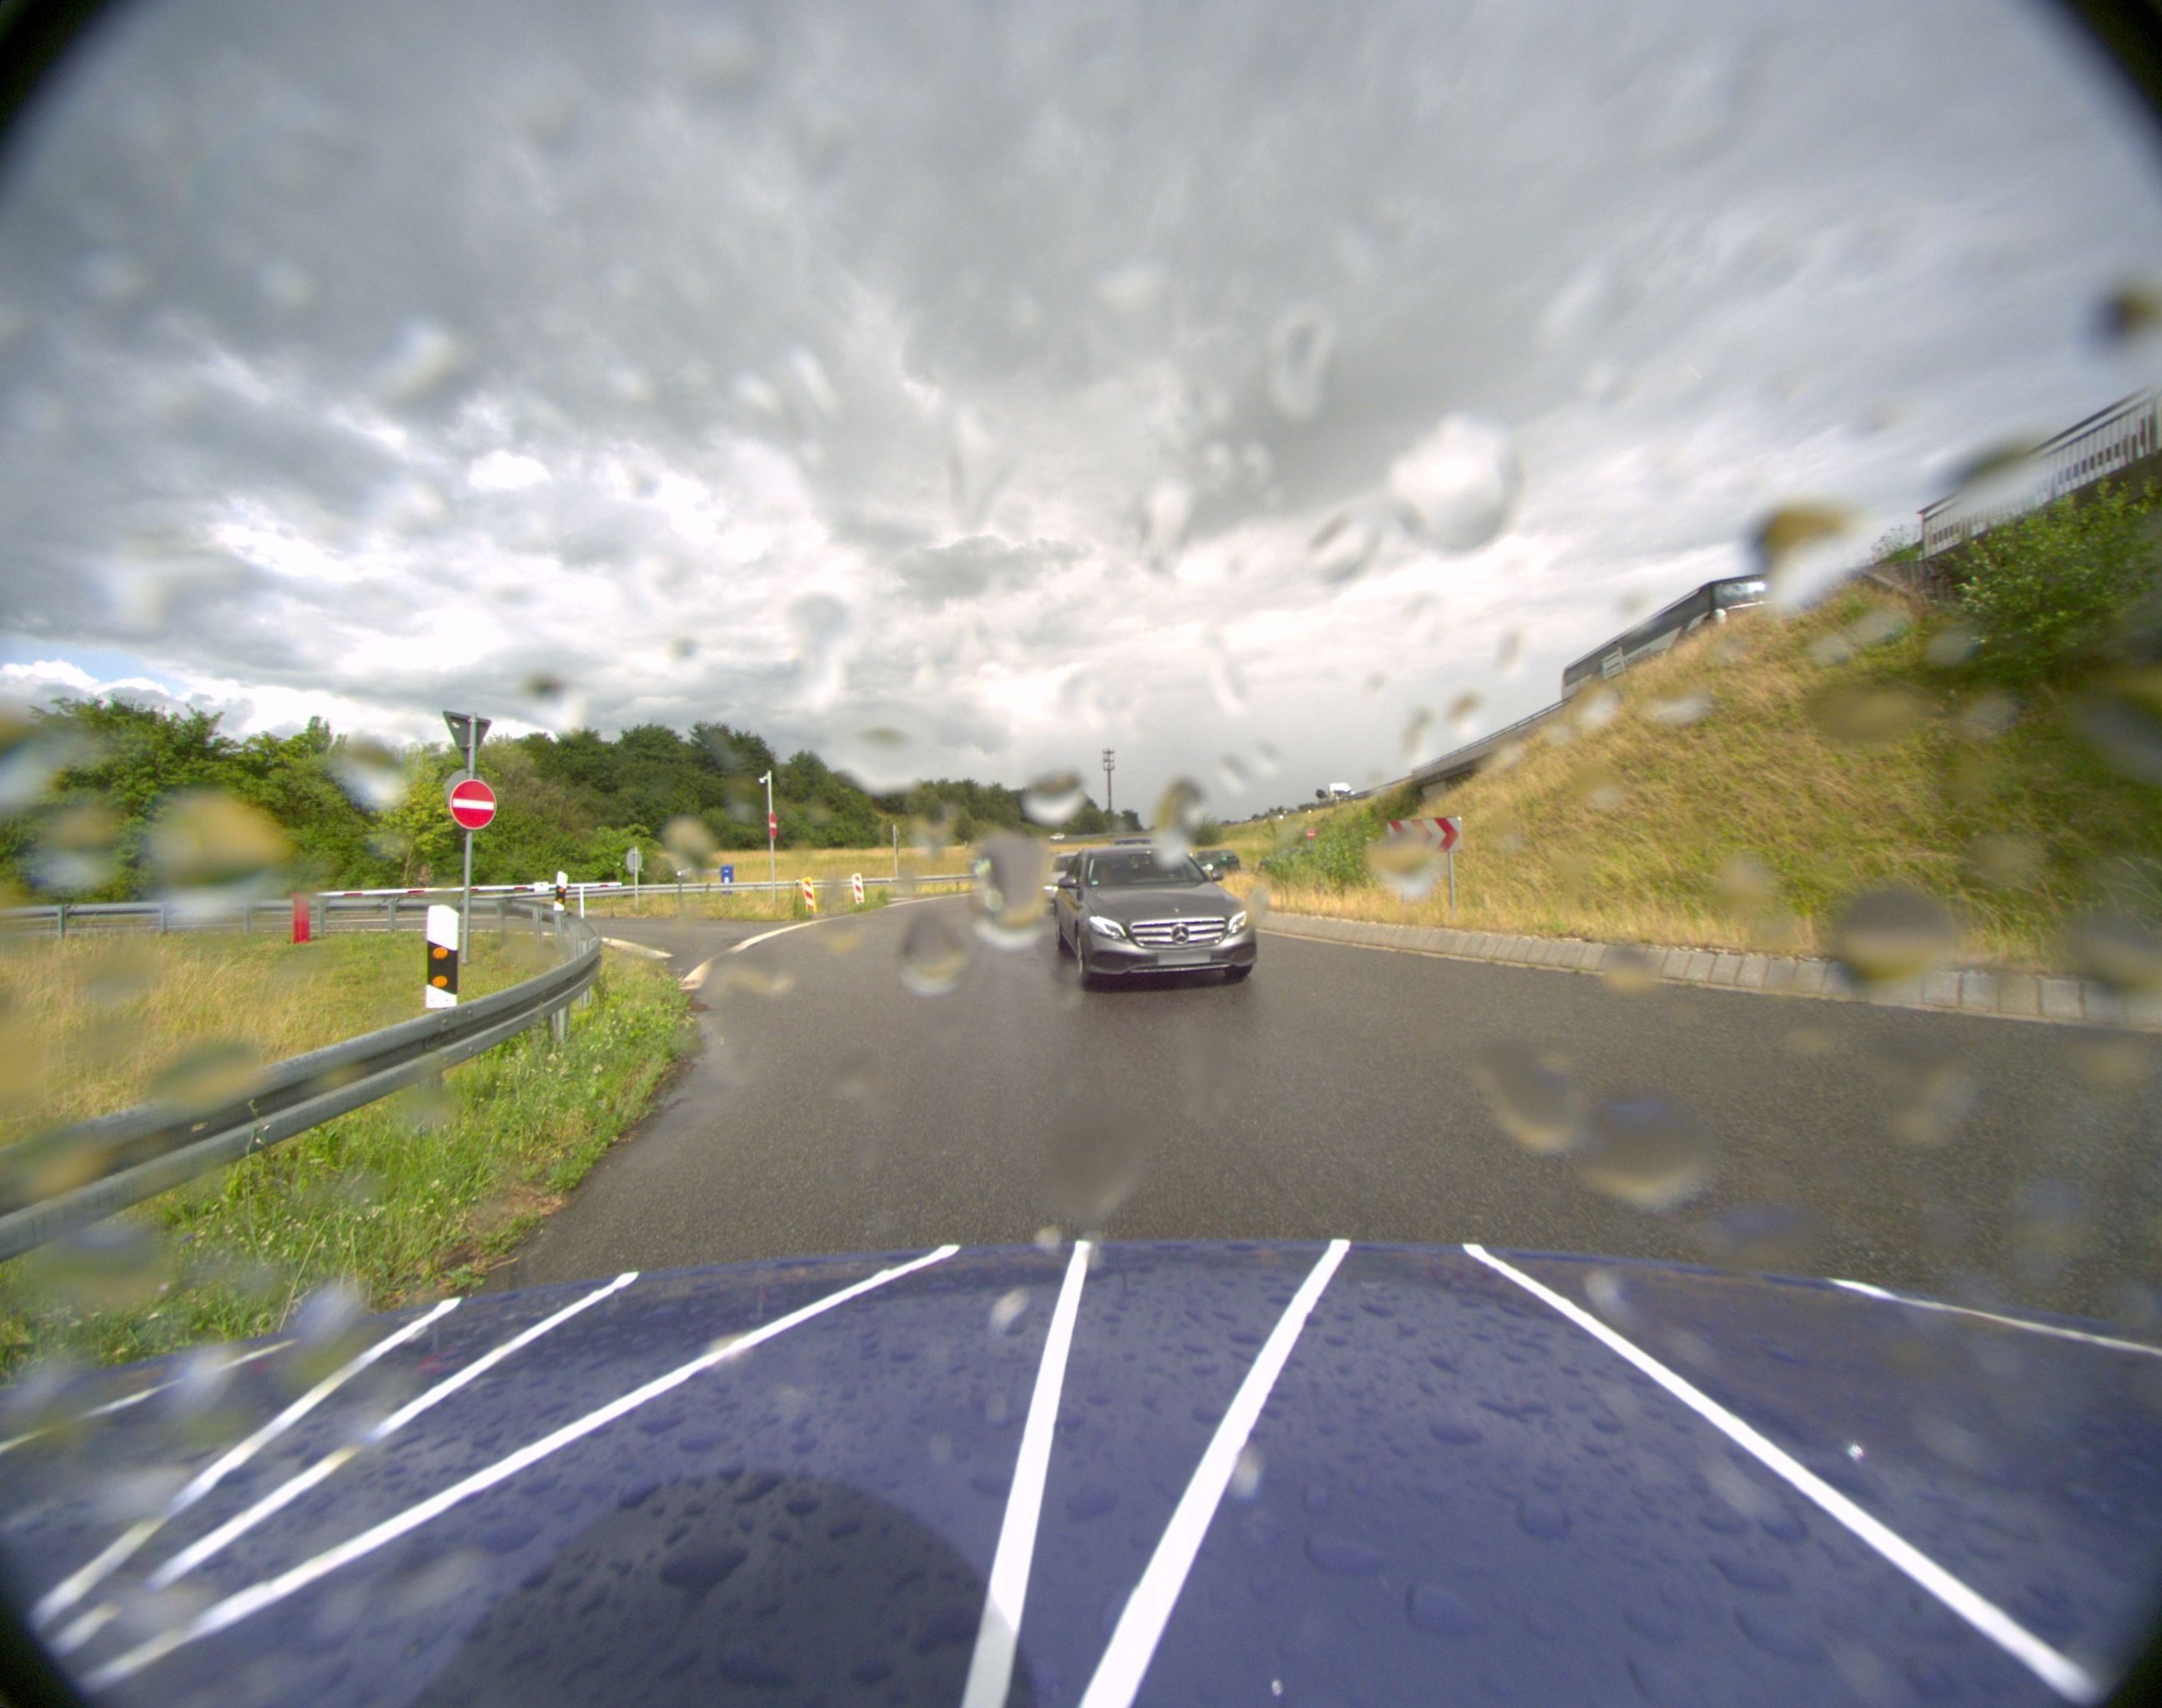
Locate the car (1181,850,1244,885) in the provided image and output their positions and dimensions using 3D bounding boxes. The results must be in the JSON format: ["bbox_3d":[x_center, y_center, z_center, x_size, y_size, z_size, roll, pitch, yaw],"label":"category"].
[{"bbox_3d":[5.986,0.578,34.273,1.770,1.476,3.840,-1,0,26],"label":"car"}]

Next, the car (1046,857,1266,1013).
[{"bbox_3d":[0.611,0.798,9.429,1.771,1.383,4.589,-2,-1,-6],"label":"car"}]

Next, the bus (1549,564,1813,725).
[{"bbox_3d":[24.518,-8.225,32.650,2.609,3.062,14.474,-3,1,12],"label":"bus"}]

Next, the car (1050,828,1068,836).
[{"bbox_3d":[-5.059,-4.981,174.882,1.762,1.634,3.901,-2,1,38],"label":"car"}]

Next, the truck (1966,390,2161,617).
[{"bbox_3d":[19.501,-6.640,11.461,2.203,2.857,10.834,-3,1,15],"label":"truck"}]

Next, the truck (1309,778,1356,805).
[{"bbox_3d":[36.591,-8.990,110.866,3.160,3.176,9.275,-3,1,-3],"label":"truck"}]

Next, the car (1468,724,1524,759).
[{"bbox_3d":[28.794,-7.774,52.888,1.711,1.517,4.495,-12,0,9],"label":"car"}]

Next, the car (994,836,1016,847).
[{"bbox_3d":[-11.140,-1.839,111.483,1.973,1.528,3.933,-1,0,16],"label":"car"}]

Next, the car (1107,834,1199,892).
[{"bbox_3d":[3.004,0.282,30.273,1.889,1.904,5.689,-3,2,24],"label":"car"}]

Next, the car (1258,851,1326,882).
[{"bbox_3d":[11.231,0.640,40.296,3.936,1.528,1.568,-1,1,-41],"label":"car"}]

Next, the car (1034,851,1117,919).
[{"bbox_3d":[-0.201,0.659,18.785,1.797,1.390,4.347,0,1,-2],"label":"car"}]
